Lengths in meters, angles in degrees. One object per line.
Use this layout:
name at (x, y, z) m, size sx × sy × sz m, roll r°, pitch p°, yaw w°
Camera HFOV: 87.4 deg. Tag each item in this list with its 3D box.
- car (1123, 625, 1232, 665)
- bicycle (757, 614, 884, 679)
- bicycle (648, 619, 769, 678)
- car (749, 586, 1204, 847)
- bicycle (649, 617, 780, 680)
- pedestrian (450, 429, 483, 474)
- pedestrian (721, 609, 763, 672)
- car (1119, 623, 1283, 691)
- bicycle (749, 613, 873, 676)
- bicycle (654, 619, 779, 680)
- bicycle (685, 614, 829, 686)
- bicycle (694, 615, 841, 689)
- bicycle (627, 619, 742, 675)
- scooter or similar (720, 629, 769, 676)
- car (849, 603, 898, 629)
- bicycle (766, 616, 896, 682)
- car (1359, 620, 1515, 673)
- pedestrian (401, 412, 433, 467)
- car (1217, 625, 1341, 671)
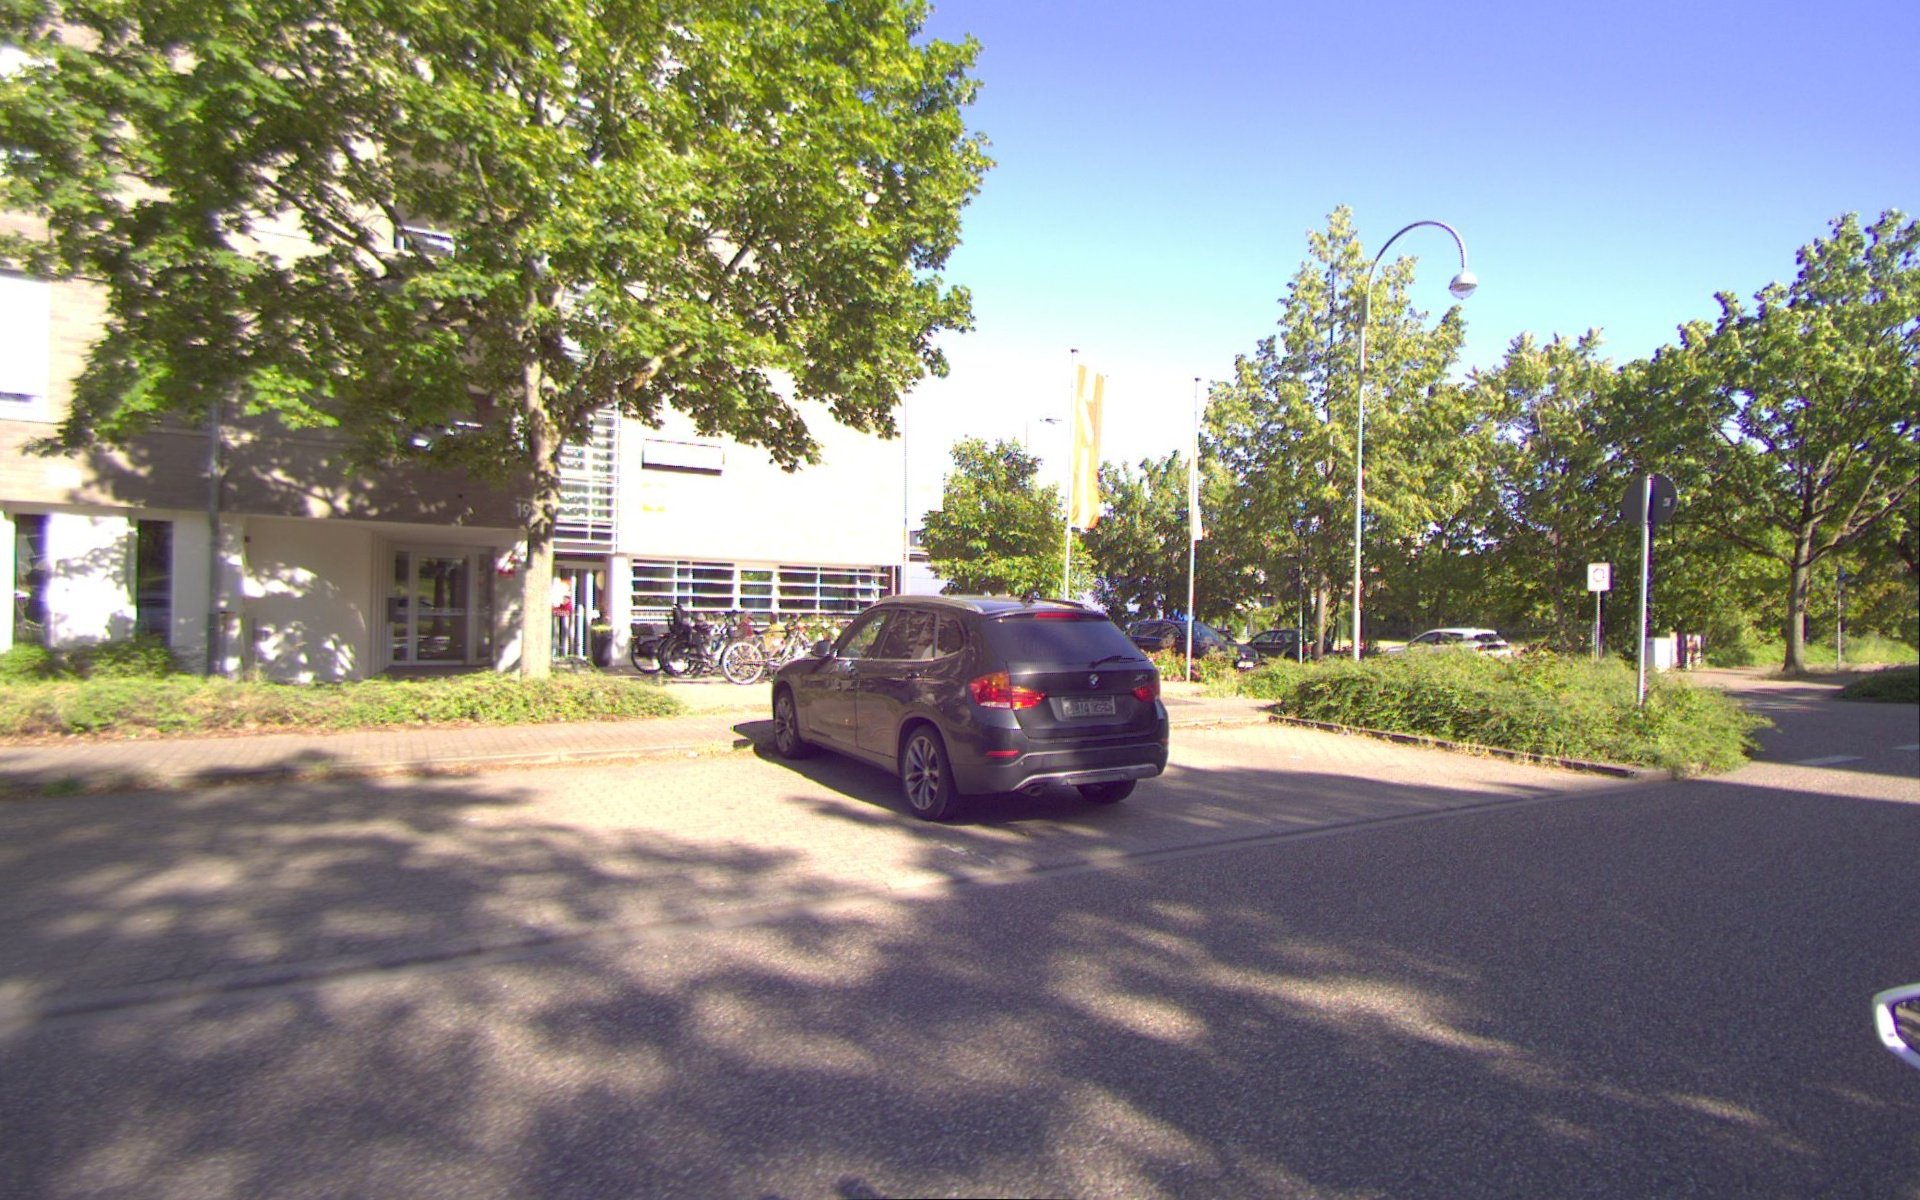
car at (8.539, 1.735, 39.763) m, size 1.663 × 1.456 × 4.402 m, roll 2°, pitch -2°, yaw -31°
bicycle at (-2.406, 0.805, 17.471) m, size 2.168 × 1.061 × 0.435 m, roll 2°, pitch 0°, yaw -31°
bicycle at (-4.714, 0.909, 18.907) m, size 2.168 × 1.061 × 0.435 m, roll 2°, pitch 0°, yaw -31°
car at (-0.158, 0.704, 8.325) m, size 1.753 × 1.540 × 4.168 m, roll 2°, pitch 0°, yaw -32°
bicycle at (-4.276, 0.847, 17.593) m, size 2.168 × 1.061 × 0.435 m, roll 2°, pitch 0°, yaw -31°
pedestrian at (-8.739, -2.624, 17.791) m, size 0.424 × 0.695 × 0.412 m, roll 2°, pitch 0°, yaw -39°
pedestrian at (-4.894, 0.901, 22.579) m, size 0.736 × 1.379 × 0.665 m, roll 2°, pitch -1°, yaw -29°
car at (6.306, 1.469, 26.797) m, size 1.870 × 1.641 × 4.306 m, roll 2°, pitch -2°, yaw -29°
bicycle at (-2.634, 0.790, 17.907) m, size 2.168 × 1.061 × 0.435 m, roll 2°, pitch 0°, yaw -31°
bicycle at (-4.450, 0.906, 18.443) m, size 2.168 × 1.061 × 0.435 m, roll 2°, pitch 0°, yaw -31°
bicycle at (-3.157, 0.780, 15.740) m, size 2.168 × 1.061 × 0.435 m, roll 2°, pitch 0°, yaw -31°
bicycle at (-2.912, 0.785, 15.326) m, size 2.168 × 1.061 × 0.435 m, roll 2°, pitch 0°, yaw -31°
bicycle at (-5.505, 0.941, 20.150) m, size 2.168 × 1.061 × 0.435 m, roll 2°, pitch 0°, yaw -31°
scooter or similar at (-4.818, 1.169, 22.439) m, size 0.858 × 0.967 × 0.800 m, roll 2°, pitch 1°, yaw -29°
car at (-5.654, 1.024, 65.367) m, size 1.666 × 1.562 × 3.817 m, roll 2°, pitch 0°, yaw -30°
bicycle at (-2.159, 0.824, 17.017) m, size 2.168 × 1.061 × 0.435 m, roll 2°, pitch 0°, yaw -31°
car at (14.142, 1.380, 30.019) m, size 1.605 × 1.470 × 4.060 m, roll 2°, pitch -3°, yaw -29°
pedestrian at (-9.181, -2.705, 16.977) m, size 0.360 × 0.809 × 0.676 m, roll 2°, pitch 0°, yaw -37°
car at (11.195, 1.661, 35.480) m, size 1.809 × 1.491 × 4.036 m, roll 2°, pitch -2°, yaw -30°
